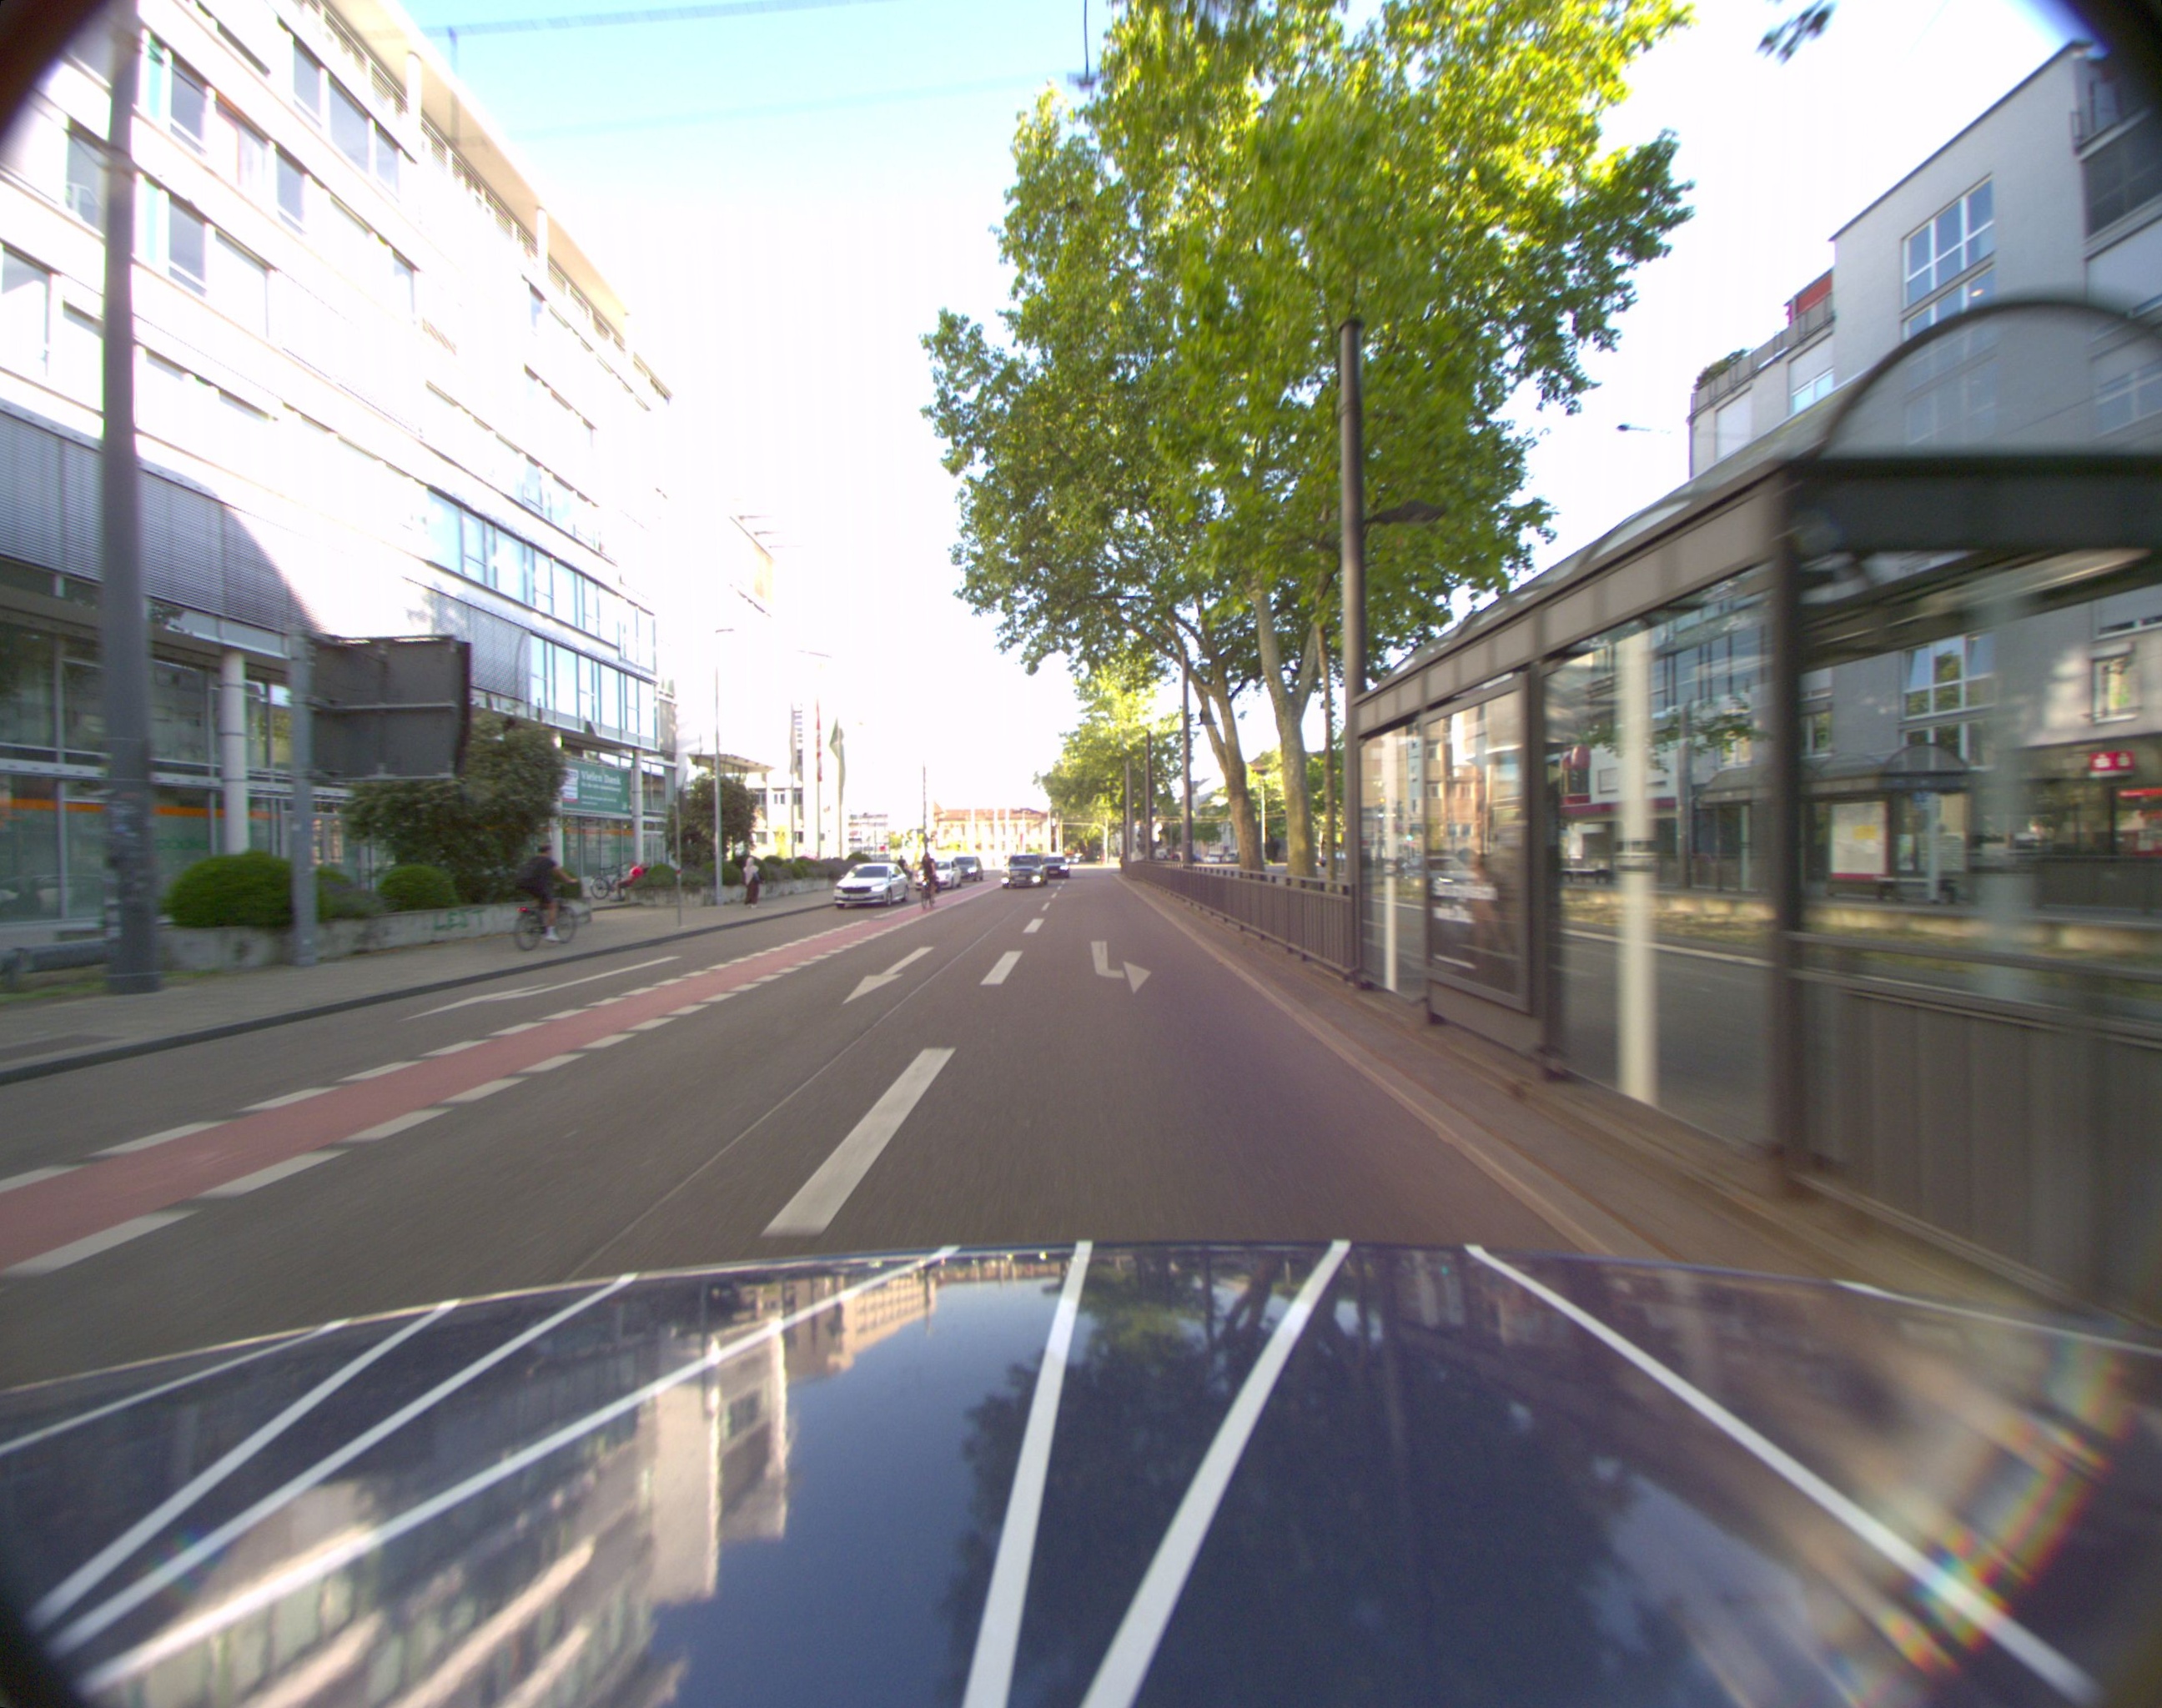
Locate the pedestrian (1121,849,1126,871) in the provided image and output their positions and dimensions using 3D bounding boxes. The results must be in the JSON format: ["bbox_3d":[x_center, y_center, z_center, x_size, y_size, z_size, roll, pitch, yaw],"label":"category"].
[{"bbox_3d":[3.133,0.435,56.110,0.389,1.558,0.335,-1,1,6],"label":"pedestrian"}]

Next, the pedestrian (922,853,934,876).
[{"bbox_3d":[-10.929,0.746,54.274,0.693,1.573,0.664,2,1,1],"label":"pedestrian"}]

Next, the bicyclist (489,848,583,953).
[{"bbox_3d":[-9.651,0.784,13.514,0.743,1.752,1.209,2,1,1],"label":"bicyclist"}]

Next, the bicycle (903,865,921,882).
[{"bbox_3d":[-9.480,1.078,42.659,0.499,0.841,1.903,3,1,1],"label":"bicycle"}]

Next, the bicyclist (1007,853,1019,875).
[{"bbox_3d":[-4.405,0.642,49.578,0.685,1.372,0.867,-1,1,0],"label":"bicyclist"}]

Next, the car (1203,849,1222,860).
[{"bbox_3d":[18.450,0.014,106.510,1.998,1.455,3.999,-1,1,0],"label":"car"}]

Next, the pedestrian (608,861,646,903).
[{"bbox_3d":[-14.142,0.870,23.676,0.752,1.264,0.693,-1,1,-4],"label":"pedestrian"}]

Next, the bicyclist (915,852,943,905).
[{"bbox_3d":[-4.839,0.775,24.226,0.752,1.678,0.714,0,1,0],"label":"bicyclist"}]

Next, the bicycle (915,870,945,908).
[{"bbox_3d":[-4.776,1.085,24.170,0.551,1.114,2.126,0,0,-1],"label":"bicycle"}]

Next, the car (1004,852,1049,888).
[{"bbox_3d":[-2.566,0.719,36.581,1.785,1.628,4.021,0,0,1],"label":"car"}]

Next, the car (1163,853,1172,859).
[{"bbox_3d":[21.104,0.518,185.505,1.895,1.552,3.999,-1,1,0],"label":"car"}]

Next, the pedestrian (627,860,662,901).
[{"bbox_3d":[-14.058,0.848,24.476,0.785,1.264,0.543,-1,1,-4],"label":"pedestrian"}]

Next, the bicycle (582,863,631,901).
[{"bbox_3d":[-15.358,0.890,24.636,0.534,1.155,1.611,-1,1,1],"label":"bicycle"}]

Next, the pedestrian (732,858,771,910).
[{"bbox_3d":[-10.221,0.914,23.623,0.753,1.566,0.912,-1,1,3],"label":"pedestrian"}]

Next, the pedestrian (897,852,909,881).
[{"bbox_3d":[-10.001,0.687,42.734,0.527,1.573,0.589,2,1,1],"label":"pedestrian"}]

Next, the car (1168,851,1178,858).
[{"bbox_3d":[21.091,0.092,174.067,1.895,1.552,3.999,-1,1,0],"label":"car"}]

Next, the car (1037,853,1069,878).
[{"bbox_3d":[-1.737,0.663,47.405,1.827,1.416,4.345,-2,1,-2],"label":"car"}]

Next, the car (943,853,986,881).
[{"bbox_3d":[-7.156,0.784,46.979,1.998,1.587,3.999,-1,1,0],"label":"car"}]

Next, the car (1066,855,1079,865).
[{"bbox_3d":[-1.332,0.940,118.495,1.827,1.416,4.345,-2,1,-2],"label":"car"}]

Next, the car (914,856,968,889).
[{"bbox_3d":[-6.800,0.868,37.274,1.671,1.455,3.869,0,0,3],"label":"car"}]

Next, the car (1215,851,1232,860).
[{"bbox_3d":[21.545,0.173,114.822,1.895,1.259,3.999,-1,1,0],"label":"car"}]

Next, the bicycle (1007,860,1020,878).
[{"bbox_3d":[-4.400,0.961,49.728,0.666,1.118,1.873,-1,1,0],"label":"bicycle"}]

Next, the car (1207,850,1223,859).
[{"bbox_3d":[21.474,0.056,121.583,1.895,1.259,3.999,-1,1,0],"label":"car"}]

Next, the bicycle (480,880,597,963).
[{"bbox_3d":[-9.654,1.155,13.611,0.665,1.268,1.927,2,1,1],"label":"bicycle"}]

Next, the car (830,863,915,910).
[{"bbox_3d":[-7.051,1.056,26.121,1.786,1.411,4.021,-1,0,0],"label":"car"}]
